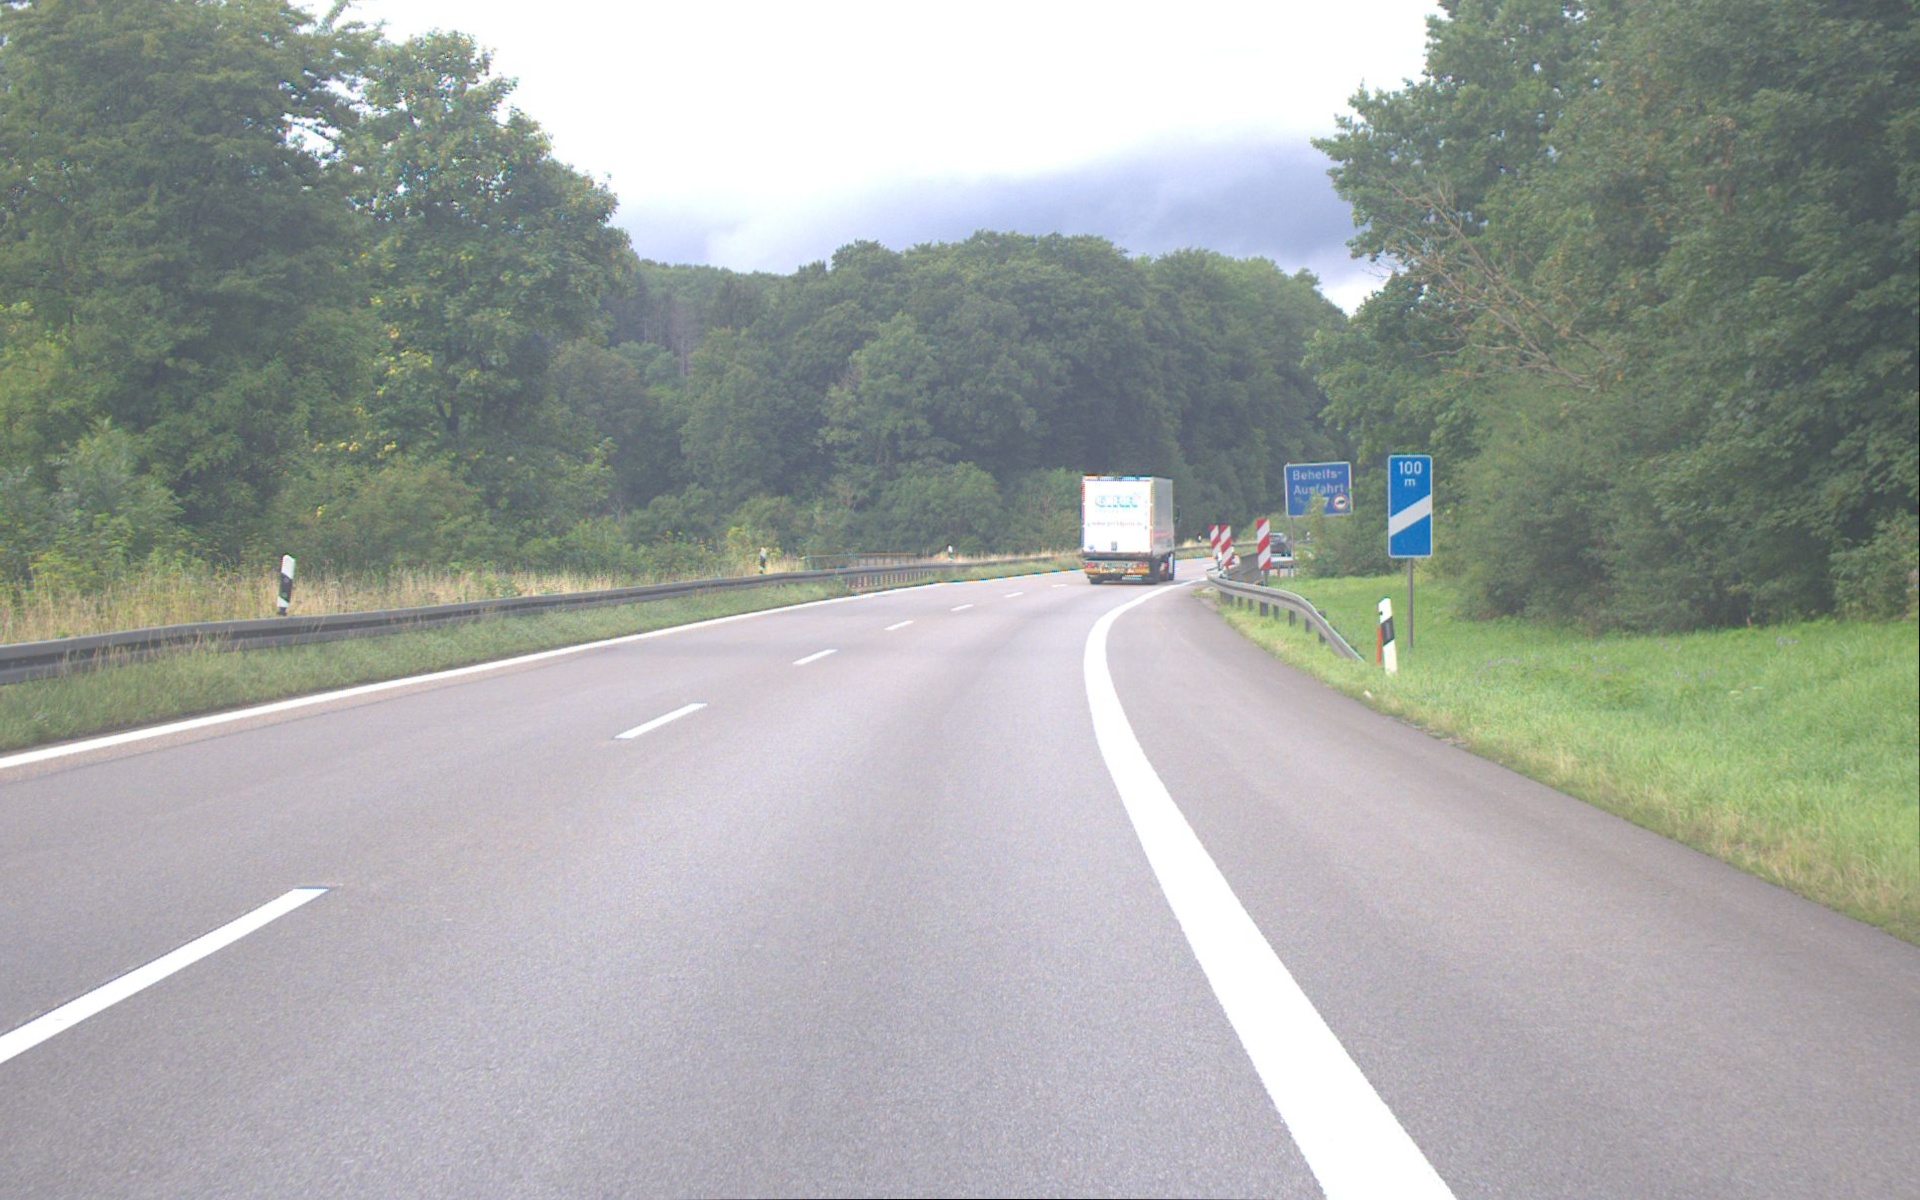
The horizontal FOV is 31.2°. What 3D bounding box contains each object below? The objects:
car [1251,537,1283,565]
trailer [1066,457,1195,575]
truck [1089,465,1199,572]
[{"bbox_3d":[20.931,-3.323,234.355,1.903,1.789,3.998,1,0,9],"label":"car"},{"bbox_3d":[6.607,-3.140,130.570,3.806,4.160,14.804,0,1,7],"label":"trailer"},{"bbox_3d":[7.407,-3.222,137.127,3.788,4.117,8.263,0,1,7],"label":"truck"}]
